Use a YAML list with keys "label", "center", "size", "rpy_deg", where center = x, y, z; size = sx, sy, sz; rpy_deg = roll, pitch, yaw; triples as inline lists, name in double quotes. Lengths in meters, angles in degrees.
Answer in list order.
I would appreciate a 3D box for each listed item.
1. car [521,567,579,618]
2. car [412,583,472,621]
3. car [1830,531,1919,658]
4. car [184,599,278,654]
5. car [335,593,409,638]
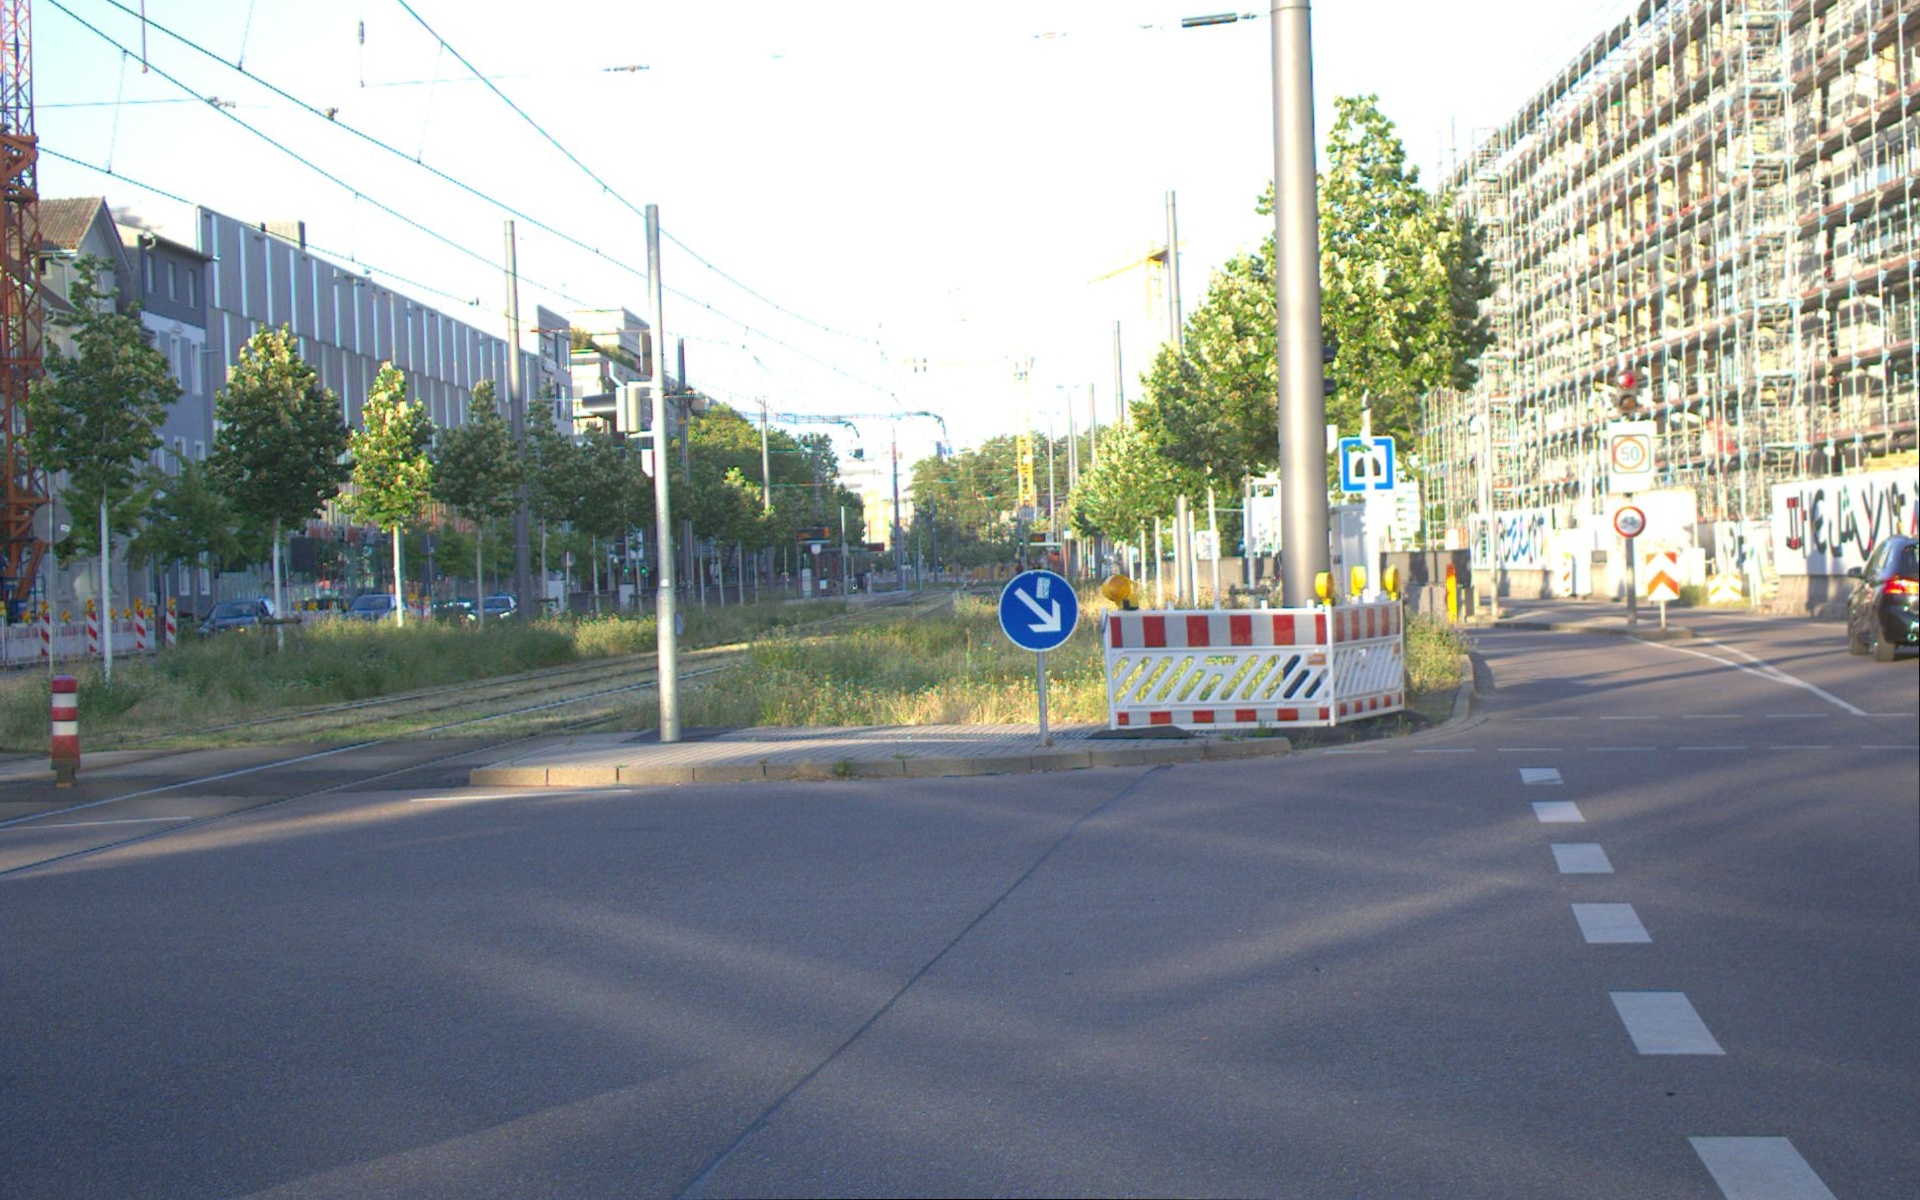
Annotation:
- label: "car"
  center: [-16.315, -0.327, 136.993]
  size: [1.658, 1.957, 4.266]
  rpy_deg: [0, 1, 2]
- label: "car"
  center: [-20.624, 0.061, 136.969]
  size: [1.658, 1.426, 3.894]
  rpy_deg: [0, 1, 2]
- label: "car"
  center: [12.159, -0.104, 43.198]
  size: [1.821, 1.513, 4.790]
  rpy_deg: [0, 1, 8]
- label: "car"
  center: [-20.473, 0.730, 96.642]
  size: [1.658, 1.426, 3.894]
  rpy_deg: [0, 1, 2]
- label: "car"
  center: [-19.527, 0.500, 114.276]
  size: [1.658, 1.426, 3.894]
  rpy_deg: [0, 1, 2]
